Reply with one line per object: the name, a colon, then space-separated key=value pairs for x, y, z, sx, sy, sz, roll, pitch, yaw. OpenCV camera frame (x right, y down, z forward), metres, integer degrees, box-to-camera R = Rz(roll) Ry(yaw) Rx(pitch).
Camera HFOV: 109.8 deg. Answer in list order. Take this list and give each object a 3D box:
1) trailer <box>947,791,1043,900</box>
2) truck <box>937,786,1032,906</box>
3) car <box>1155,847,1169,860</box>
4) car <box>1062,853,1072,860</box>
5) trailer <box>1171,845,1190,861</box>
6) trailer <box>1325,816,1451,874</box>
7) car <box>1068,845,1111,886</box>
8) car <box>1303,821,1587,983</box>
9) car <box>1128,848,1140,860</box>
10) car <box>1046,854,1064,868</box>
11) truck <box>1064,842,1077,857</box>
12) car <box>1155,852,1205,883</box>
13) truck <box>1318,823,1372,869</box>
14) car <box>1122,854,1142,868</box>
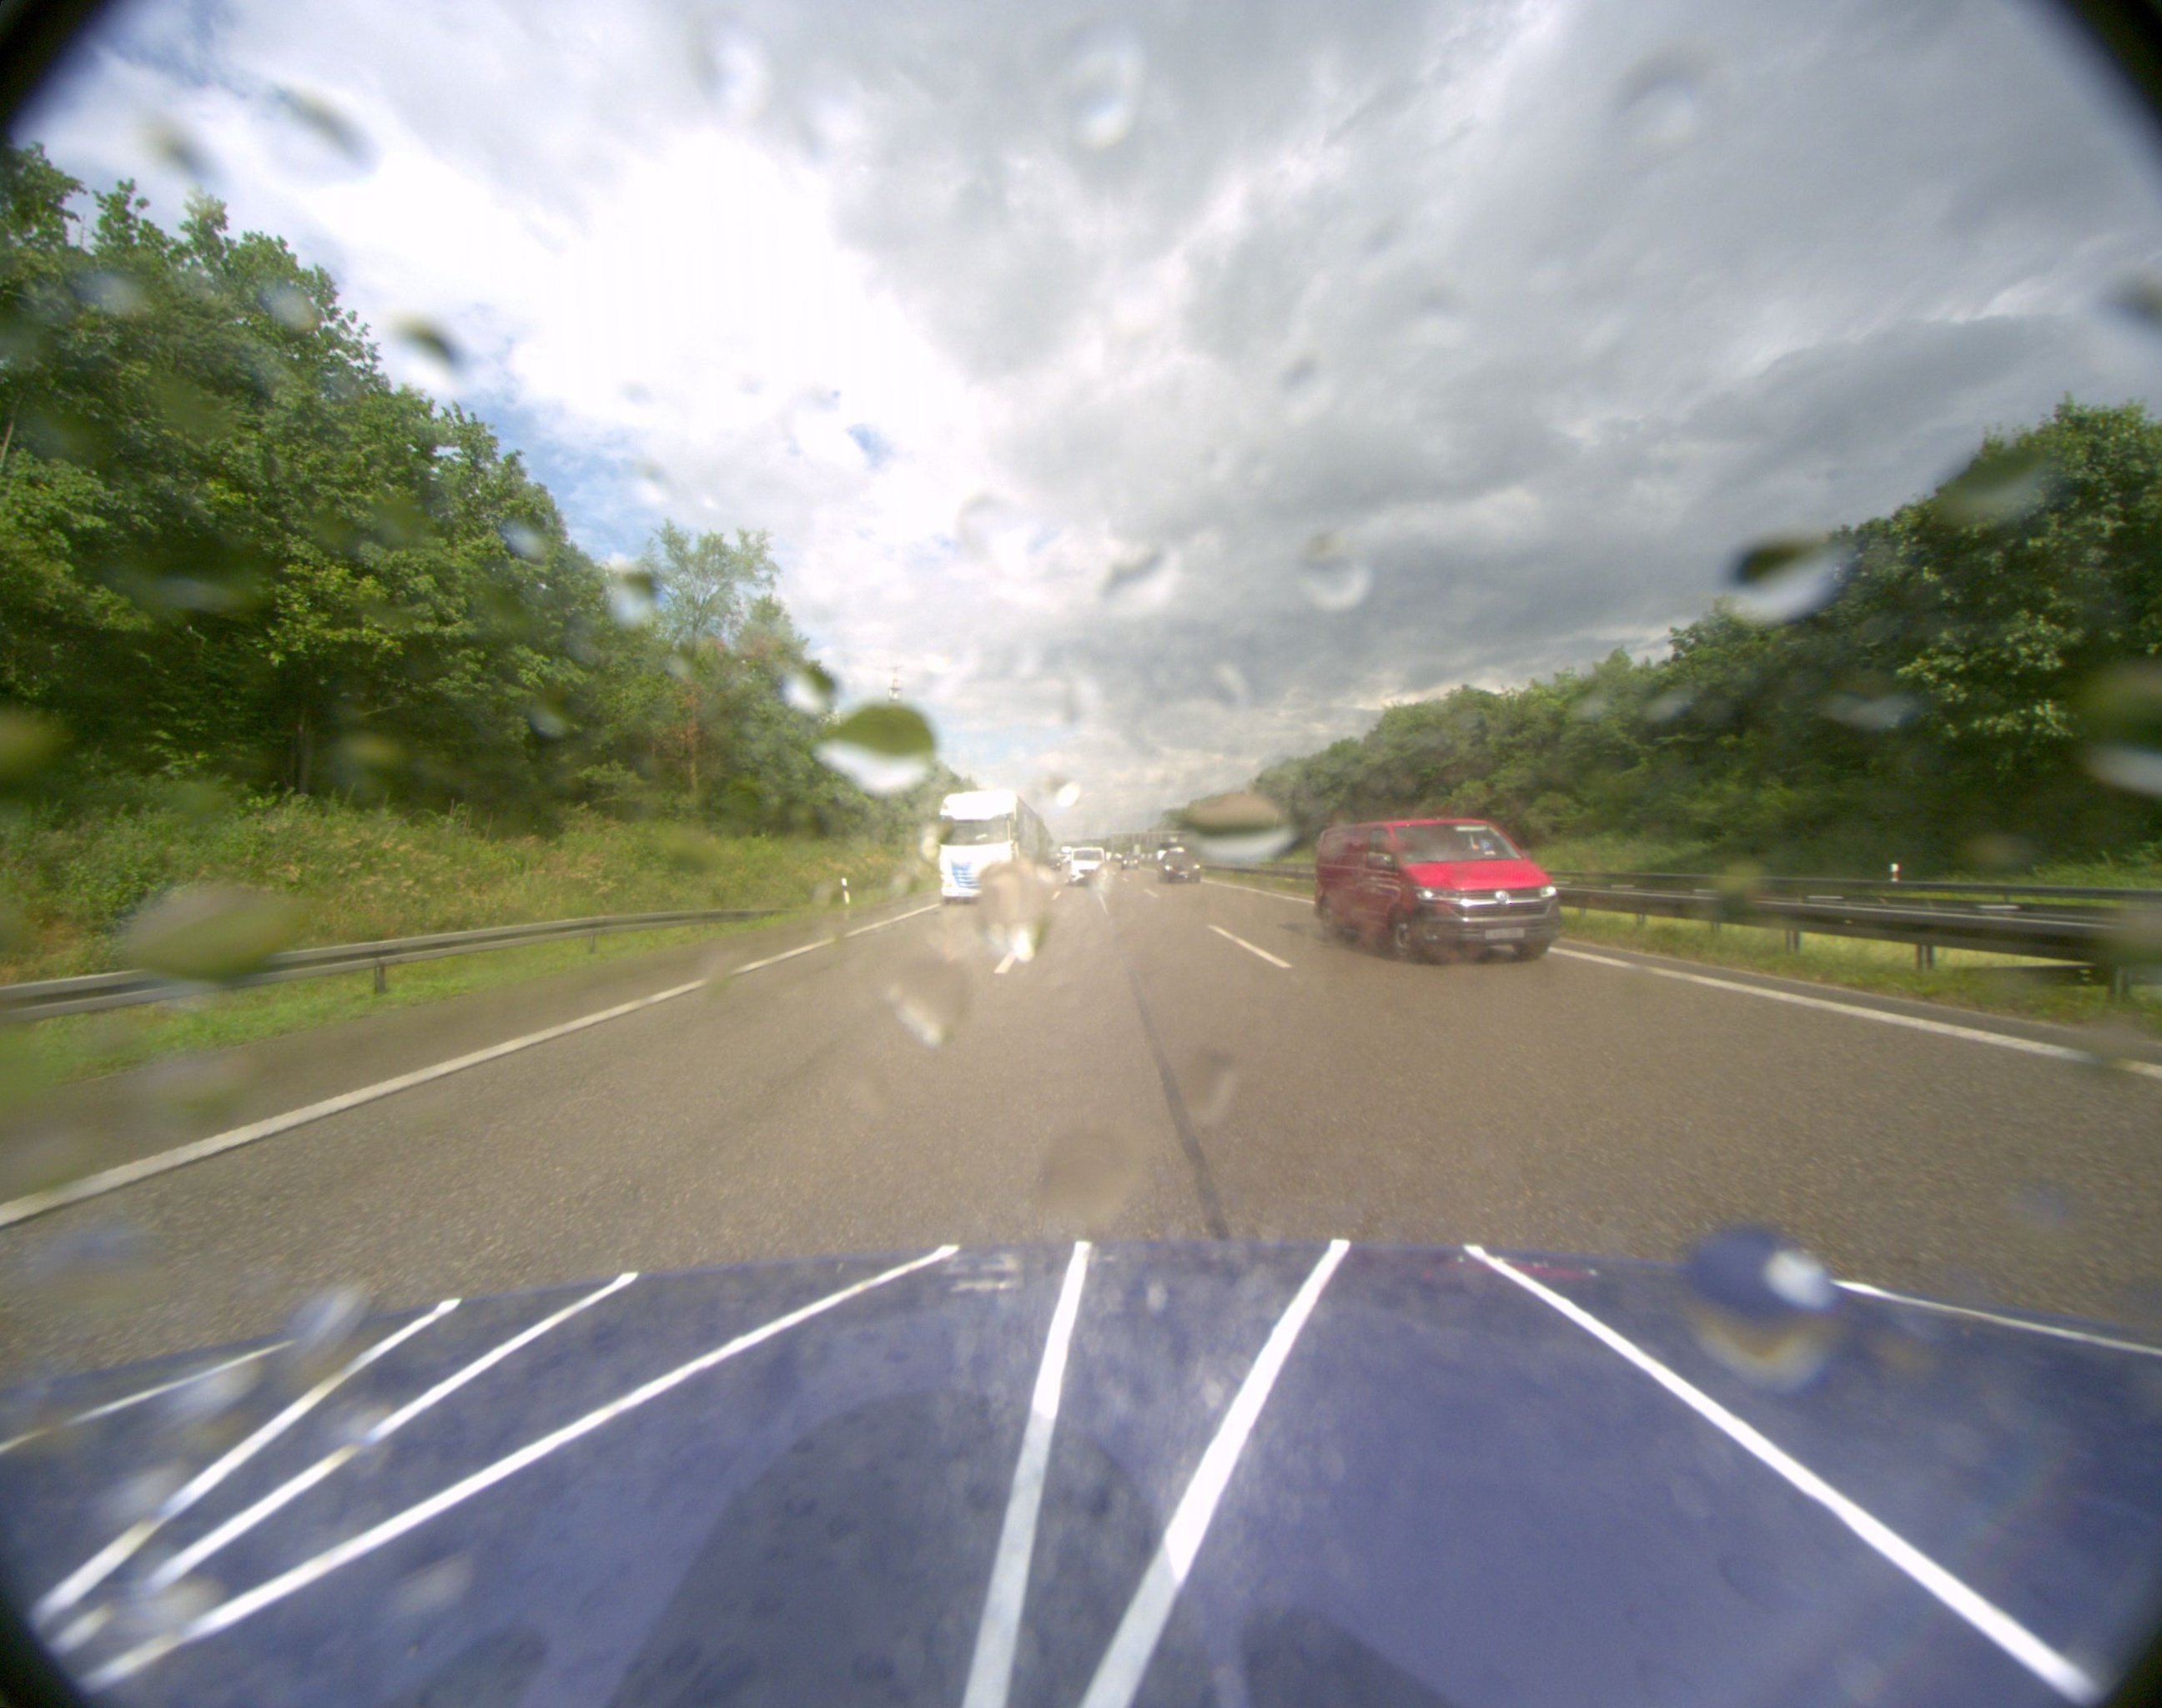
trailer: x=-3.525 y=-0.360 z=35.187 sx=2.641 sy=3.972 sz=14.063 roll=-2 pitch=0 yaw=0
truck: x=-3.514 y=-0.300 z=29.515 sx=2.613 sy=3.972 sz=7.289 roll=-2 pitch=1 yaw=0
car: x=18.043 y=-0.074 z=169.209 sx=2.268 sy=2.853 sz=6.788 roll=-2 pitch=0 yaw=0
car: x=-2.799 y=0.471 z=151.289 sx=1.799 sy=1.410 sz=4.838 roll=-2 pitch=0 yaw=0
trailer: x=26.375 y=-0.345 z=202.686 sx=2.997 sy=3.809 sz=17.952 roll=-3 pitch=0 yaw=2
trailer: x=22.682 y=-0.636 z=57.867 sx=2.729 sy=3.623 sz=16.675 roll=-2 pitch=0 yaw=0
car: x=0.437 y=0.583 z=41.338 sx=2.124 sy=1.988 sz=5.982 roll=-2 pitch=0 yaw=0
car: x=5.035 y=0.553 z=11.452 sx=1.927 sy=1.855 sz=4.838 roll=-2 pitch=0 yaw=0
car: x=13.359 y=-0.112 z=191.869 sx=2.268 sy=2.853 sz=6.889 roll=-2 pitch=0 yaw=0
car: x=-3.028 y=0.802 z=88.817 sx=1.799 sy=1.410 sz=4.838 roll=-2 pitch=0 yaw=0
truck: x=-2.732 y=-1.182 z=195.407 sx=3.064 sy=3.827 sz=8.799 roll=-1 pitch=0 yaw=-1
car: x=5.273 y=0.693 z=41.058 sx=2.009 sy=1.488 sz=4.838 roll=-2 pitch=0 yaw=0
truck: x=22.679 y=-0.685 z=65.530 sx=2.729 sy=3.643 sz=5.331 roll=-2 pitch=1 yaw=0
car: x=5.473 y=0.724 z=81.782 sx=1.799 sy=1.410 sz=4.838 roll=-2 pitch=0 yaw=0
